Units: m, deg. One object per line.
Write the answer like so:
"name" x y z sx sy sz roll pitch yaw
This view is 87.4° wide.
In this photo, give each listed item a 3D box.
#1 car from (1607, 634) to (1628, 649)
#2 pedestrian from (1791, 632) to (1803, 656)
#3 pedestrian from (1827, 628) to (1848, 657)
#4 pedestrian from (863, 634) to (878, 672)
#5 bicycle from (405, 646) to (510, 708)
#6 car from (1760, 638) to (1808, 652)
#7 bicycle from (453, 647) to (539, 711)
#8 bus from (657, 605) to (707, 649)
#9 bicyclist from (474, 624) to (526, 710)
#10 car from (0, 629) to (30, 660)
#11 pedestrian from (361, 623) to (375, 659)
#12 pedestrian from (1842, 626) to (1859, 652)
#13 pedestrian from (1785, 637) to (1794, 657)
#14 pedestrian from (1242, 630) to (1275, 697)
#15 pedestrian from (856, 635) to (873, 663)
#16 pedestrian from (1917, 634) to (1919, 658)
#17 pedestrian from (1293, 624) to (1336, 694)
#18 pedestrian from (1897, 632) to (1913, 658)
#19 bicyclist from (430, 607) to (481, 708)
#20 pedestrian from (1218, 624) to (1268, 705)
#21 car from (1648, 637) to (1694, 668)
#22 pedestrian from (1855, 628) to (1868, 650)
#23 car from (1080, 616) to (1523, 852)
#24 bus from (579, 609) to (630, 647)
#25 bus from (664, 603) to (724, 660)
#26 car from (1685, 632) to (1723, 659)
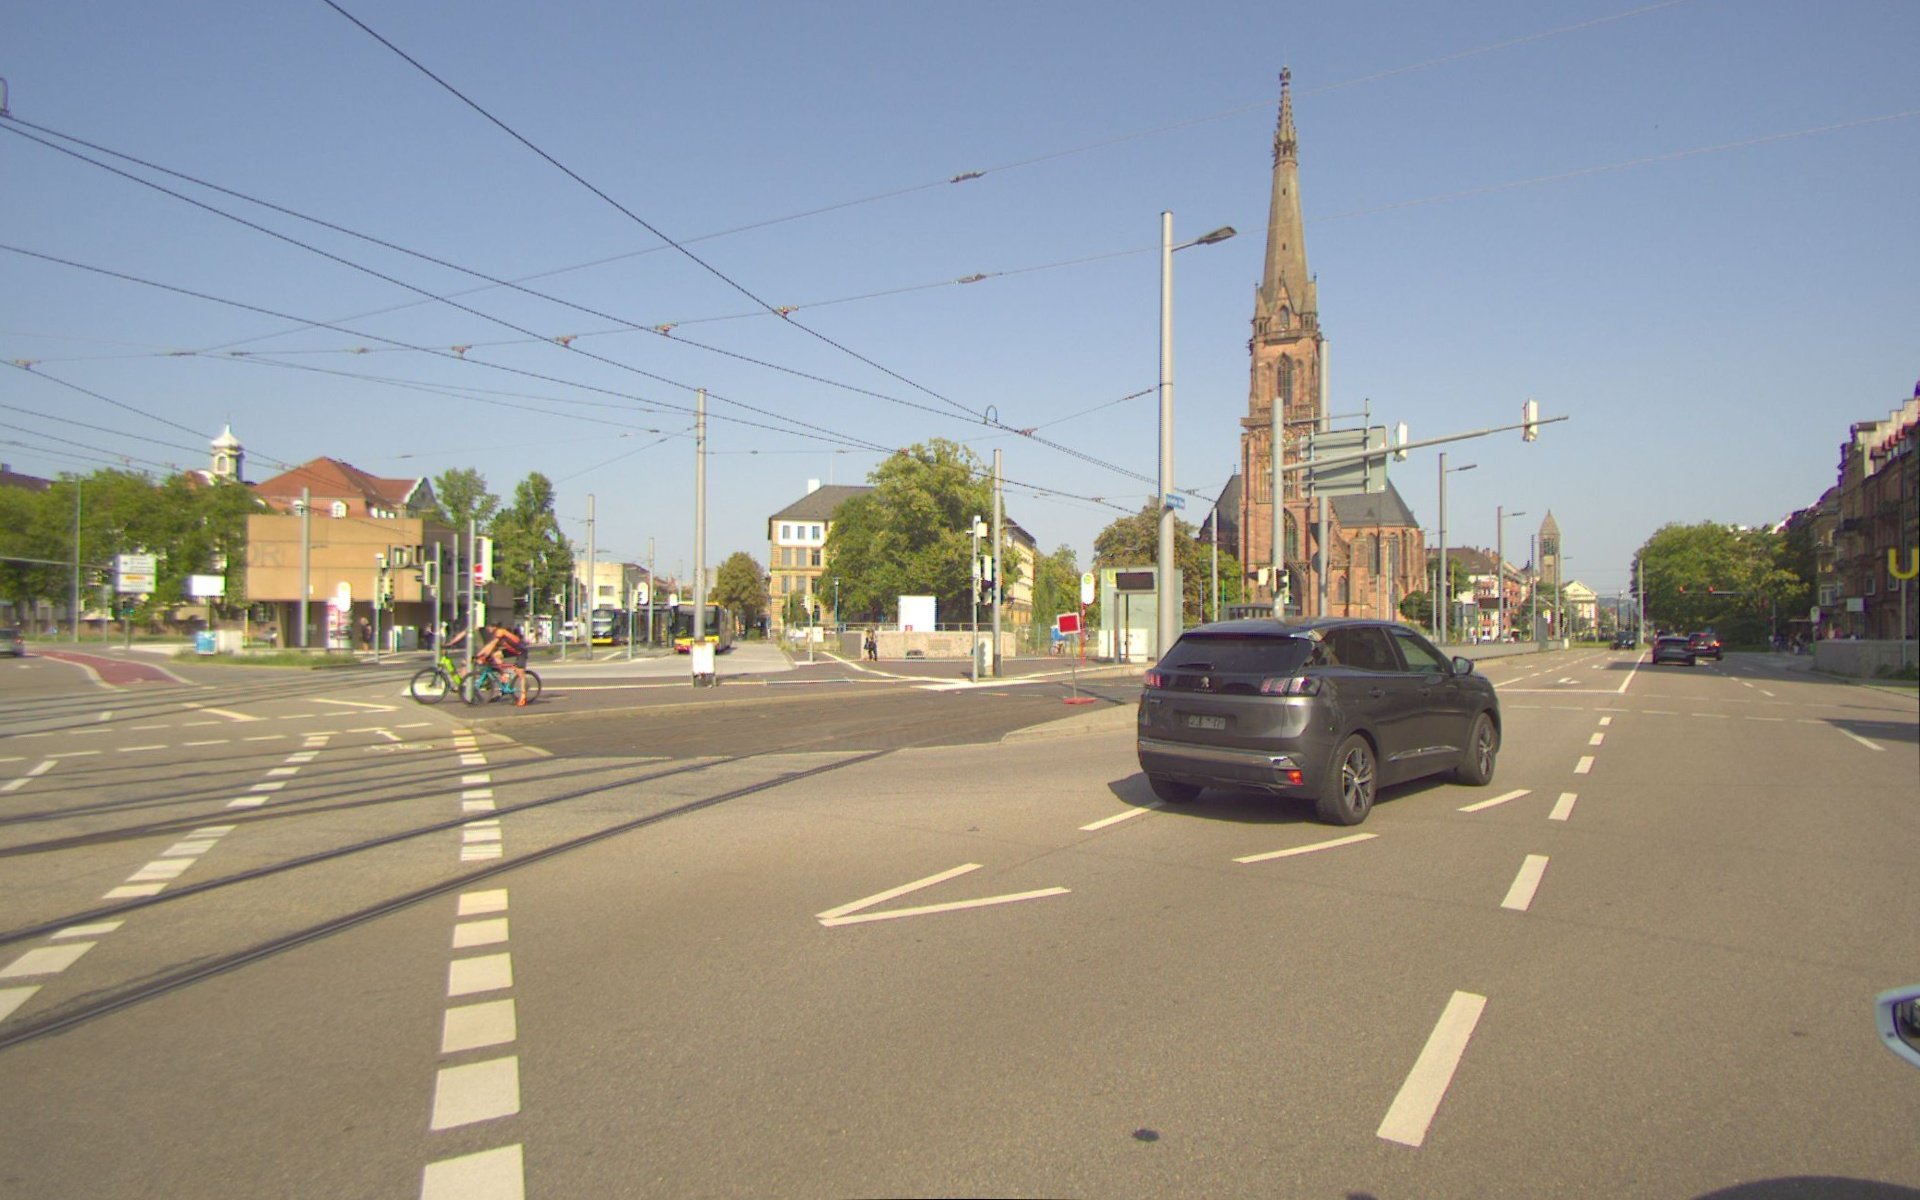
"car" 68.001 4.288 103.857 1.717 1.547 3.862 -1 -2 34
"pedestrian" 62.430 3.291 74.944 0.557 1.752 0.744 0 -1 32
"pedestrian" 58.365 2.816 66.822 0.912 1.856 0.799 0 -1 32
"pedestrian" -4.221 2.509 47.463 0.630 1.783 0.442 1 -1 -12
"bicycle" -10.132 1.535 20.300 1.844 1.181 0.373 1 -1 -40
"car" 96.557 5.247 117.743 4.120 1.584 1.996 -1 -2 31
"bicycle" -9.065 1.525 19.660 1.486 1.181 0.308 1 -1 -40
"bus" -21.740 2.149 79.168 3.169 3.220 13.285 0 -2 -13
"bicyclist" -9.016 1.290 19.691 0.801 1.652 0.506 1 -1 -40
"car" -48.470 2.214 50.741 3.941 1.528 1.774 -1 -2 41
"pedestrian" -29.448 2.046 49.995 0.396 1.792 0.558 1 -1 -9
"pedestrian" 60.953 2.679 68.735 0.739 1.752 0.799 0 -1 32
"pedestrian" 71.346 4.025 86.376 0.474 1.724 0.701 0 -1 32
"pedestrian" 7.319 1.556 24.649 0.624 1.618 0.466 -3 -3 33
"pedestrian" -4.577 2.318 47.938 0.755 1.309 0.557 1 -1 -12
"pedestrian" 68.740 3.269 71.614 0.595 1.676 0.586 0 -1 32
"pedestrian" 8.839 1.474 25.018 0.803 1.714 0.649 -3 -3 35
"pedestrian" 65.471 3.097 69.594 0.710 1.811 0.853 0 -2 36
"bicyclist" -10.176 1.141 20.279 0.801 2.001 0.574 1 -1 -41
"pedestrian" 6.550 1.488 23.232 0.824 1.811 0.725 -4 -4 43
"car" 36.401 2.658 51.480 1.839 1.443 4.343 1 -1 35
"pedestrian" 74.193 3.224 82.668 0.609 1.828 1.068 0 -2 36
"car" 3.275 0.997 9.192 4.323 1.642 1.976 2 -2 -41
"bus" -34.182 2.694 97.100 3.169 3.464 13.284 1 -2 -13
"bus" -16.471 1.951 62.910 3.169 3.220 13.284 1 -2 -13
"car" 48.241 2.936 65.176 1.807 1.642 4.343 1 -1 35
